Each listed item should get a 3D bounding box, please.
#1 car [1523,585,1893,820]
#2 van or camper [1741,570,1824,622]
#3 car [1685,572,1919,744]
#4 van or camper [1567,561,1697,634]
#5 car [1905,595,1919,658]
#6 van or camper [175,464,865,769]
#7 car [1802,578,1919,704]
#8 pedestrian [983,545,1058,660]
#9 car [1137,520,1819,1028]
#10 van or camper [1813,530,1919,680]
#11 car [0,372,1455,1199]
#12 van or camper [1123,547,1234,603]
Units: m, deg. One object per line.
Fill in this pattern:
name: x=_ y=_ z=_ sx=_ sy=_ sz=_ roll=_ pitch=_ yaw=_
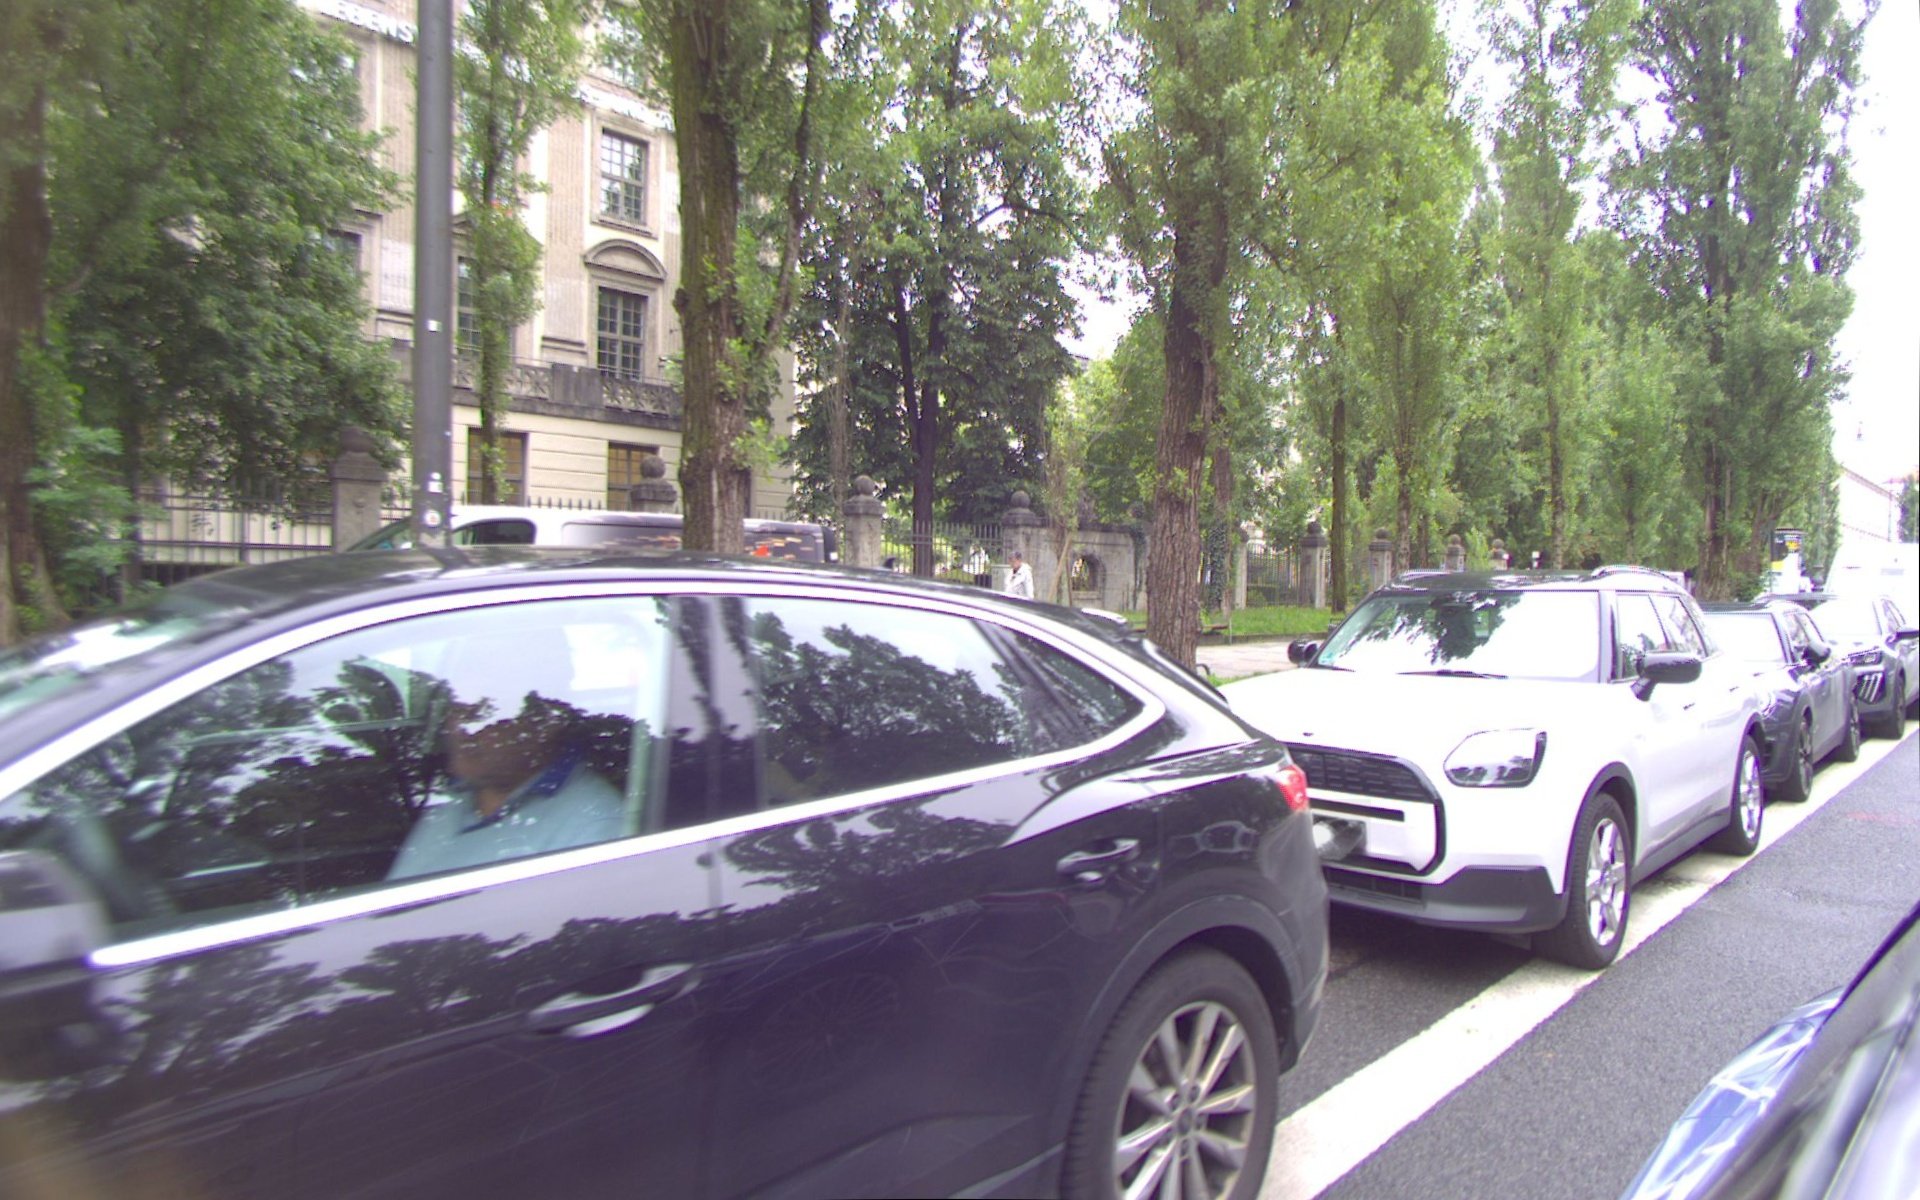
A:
car: x=6.653 y=0.682 z=8.816 sx=4.220 sy=1.538 sz=1.706 roll=0 pitch=2 yaw=-41
van or camper: x=34.309 y=-0.174 z=42.149 sx=4.901 sy=2.039 sz=2.006 roll=0 pitch=1 yaw=-43
car: x=10.295 y=0.550 z=11.961 sx=4.557 sy=1.638 sz=1.787 roll=0 pitch=2 yaw=-41
van or camper: x=19.777 y=-0.087 z=29.683 sx=4.951 sy=1.958 sz=1.978 roll=0 pitch=1 yaw=-42
car: x=23.903 y=0.626 z=24.139 sx=3.932 sy=1.437 sz=1.678 roll=0 pitch=2 yaw=-43
van or camper: x=-3.609 y=0.089 z=9.016 sx=5.274 sy=1.958 sz=2.080 roll=0 pitch=1 yaw=-41
car: x=14.231 y=0.553 z=15.285 sx=4.343 sy=1.669 sz=1.787 roll=0 pitch=2 yaw=-43
pedestrian: x=0.971 y=0.023 z=16.257 sx=0.879 sy=1.790 sz=0.797 roll=0 pitch=1 yaw=-38
car: x=3.097 y=0.555 z=5.518 sx=4.500 sy=1.696 sz=1.746 roll=0 pitch=2 yaw=-41
van or camper: x=18.650 y=0.063 z=19.697 sx=6.305 sy=2.571 sz=2.143 roll=0 pitch=2 yaw=-41
car: x=-1.005 y=0.558 z=1.919 sx=4.385 sy=1.560 sz=1.884 roll=0 pitch=2 yaw=-41
van or camper: x=11.145 y=-1.332 z=51.927 sx=2.210 sy=2.739 sz=5.220 roll=0 pitch=2 yaw=-40
